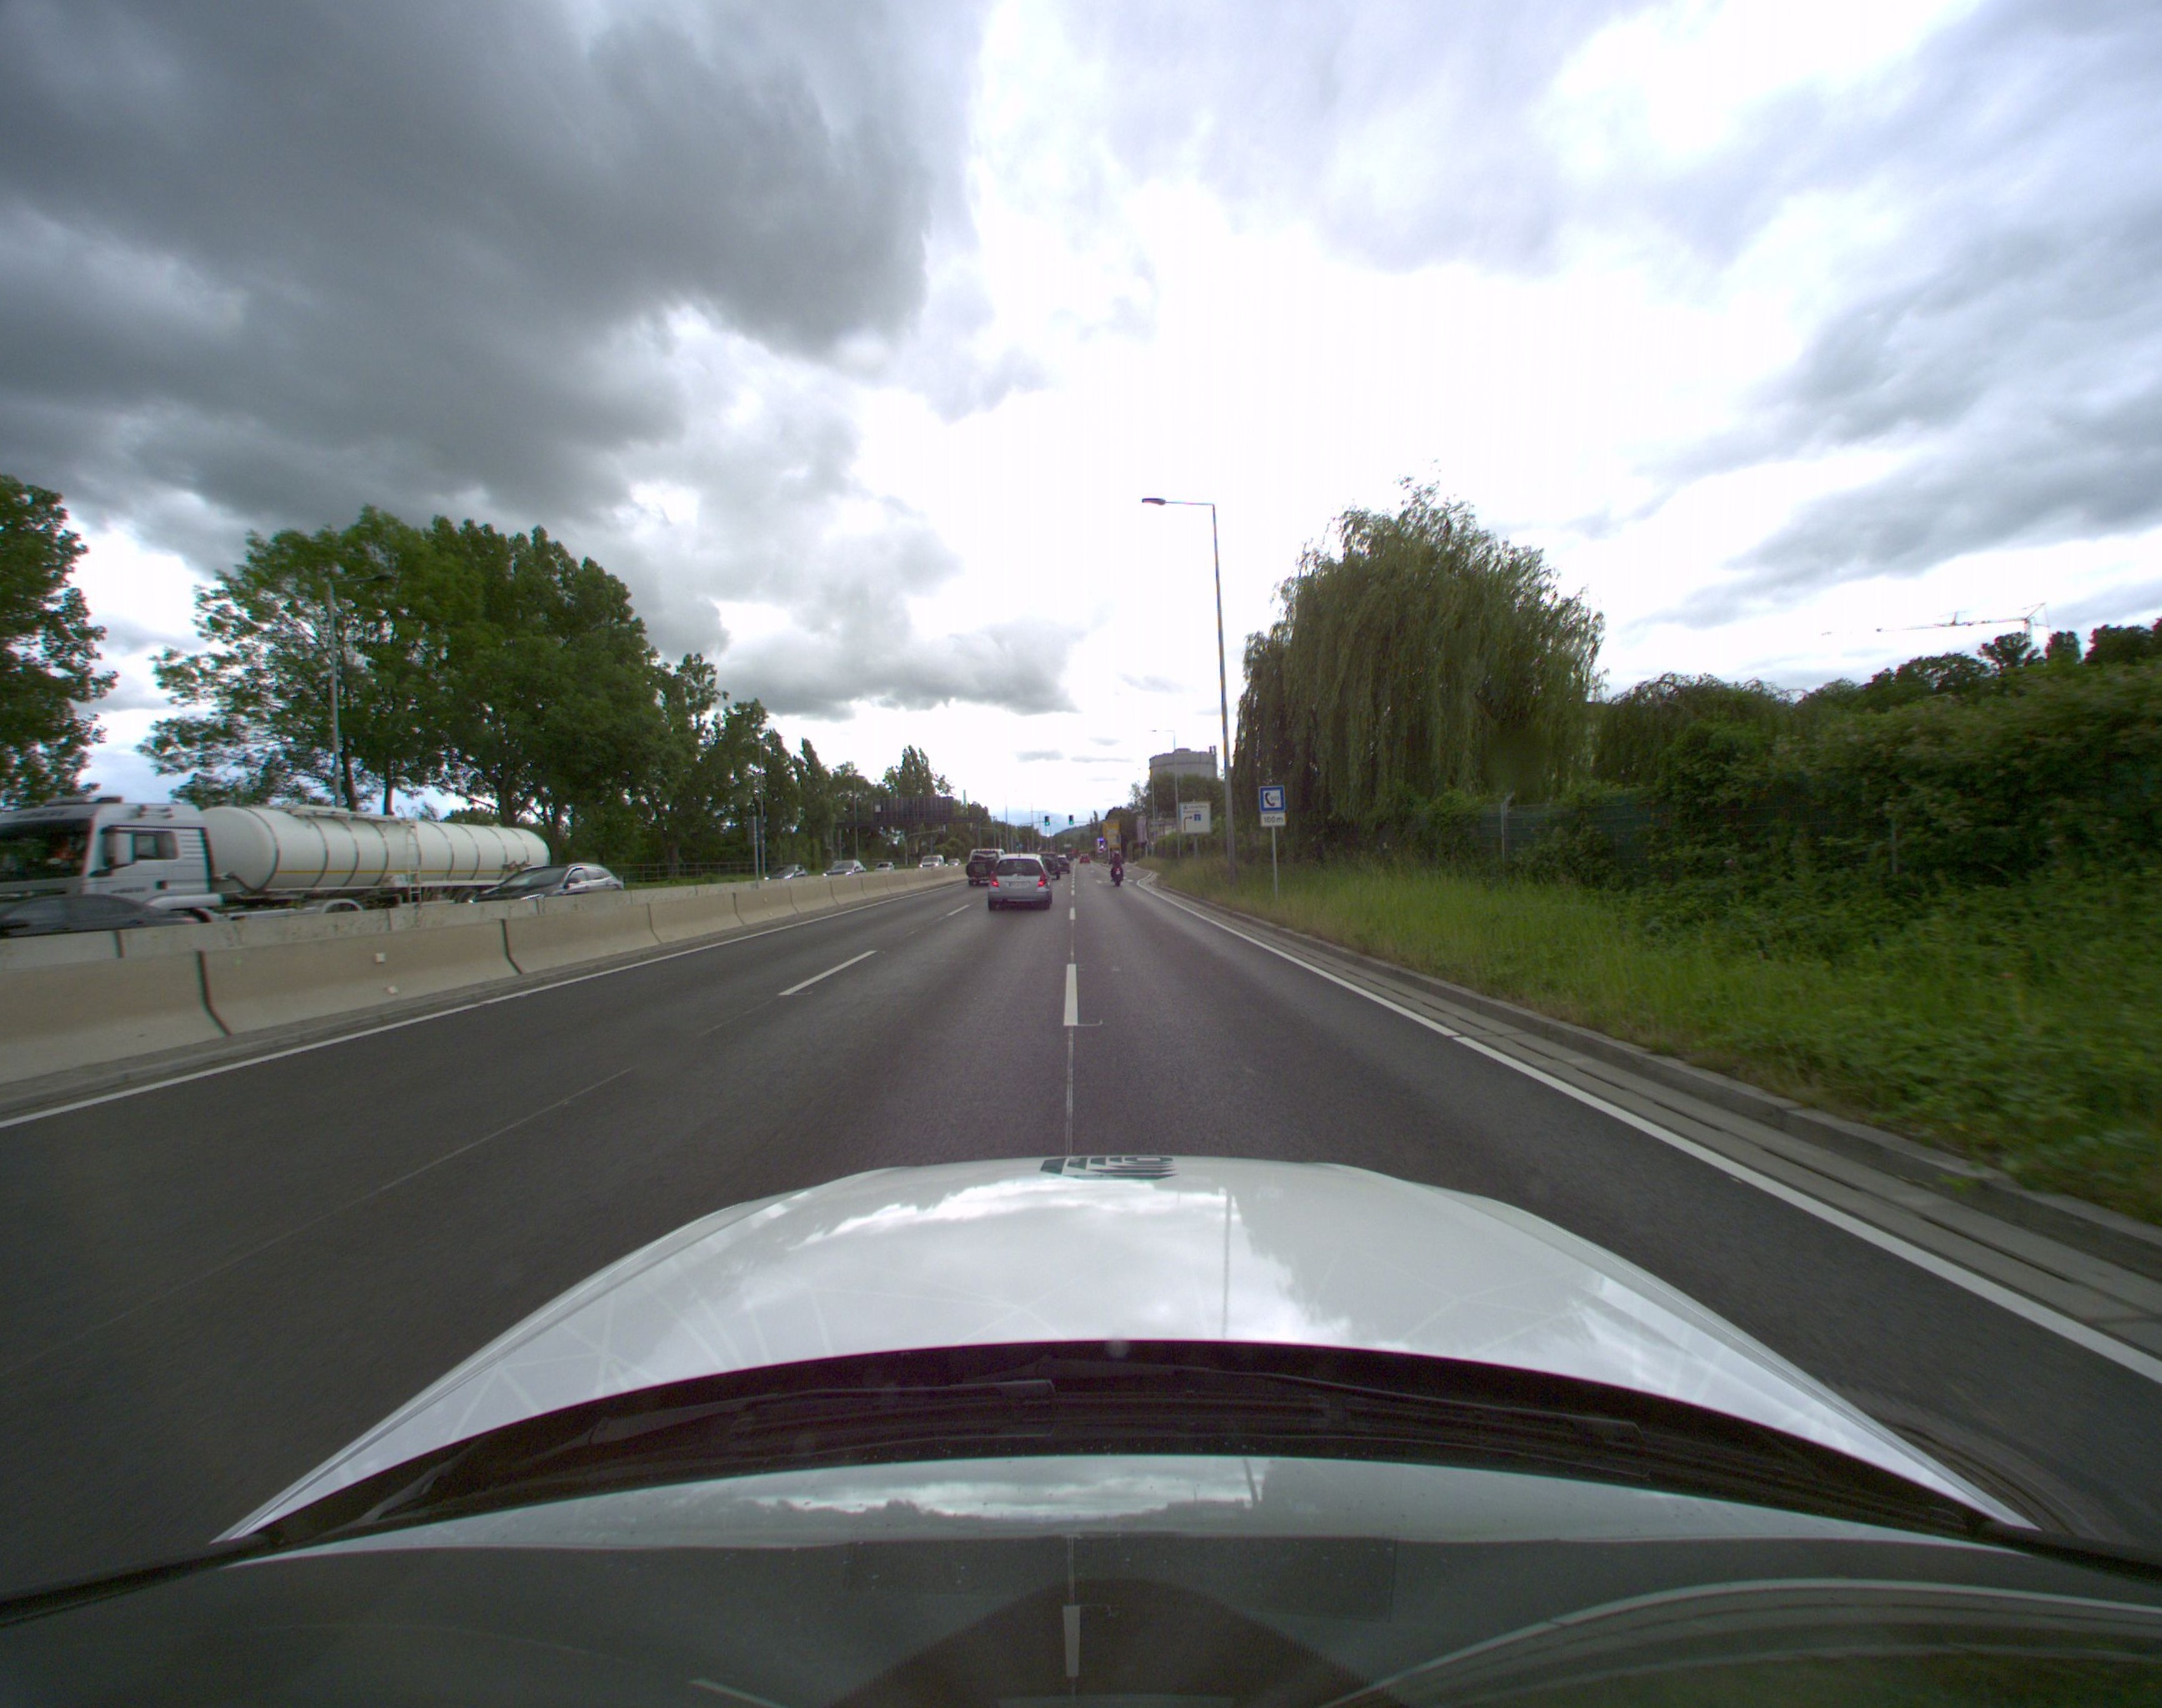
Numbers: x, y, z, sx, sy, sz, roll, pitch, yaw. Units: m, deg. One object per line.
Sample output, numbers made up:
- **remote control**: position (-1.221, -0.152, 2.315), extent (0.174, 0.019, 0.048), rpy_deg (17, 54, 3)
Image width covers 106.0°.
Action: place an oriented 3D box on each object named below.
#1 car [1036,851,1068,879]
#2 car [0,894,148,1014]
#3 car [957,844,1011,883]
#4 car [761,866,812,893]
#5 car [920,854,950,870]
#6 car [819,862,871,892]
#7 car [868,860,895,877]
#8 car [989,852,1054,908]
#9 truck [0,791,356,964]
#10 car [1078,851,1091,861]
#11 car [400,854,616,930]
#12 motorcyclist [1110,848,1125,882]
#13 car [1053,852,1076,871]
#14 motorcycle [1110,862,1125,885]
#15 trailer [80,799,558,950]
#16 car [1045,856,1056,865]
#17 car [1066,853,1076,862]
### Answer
- **car**: position (-1.802, 0.653, 51.953), extent (1.901, 1.684, 4.000), rpy_deg (0, 0, 0)
- **car**: position (-16.371, 1.477, 11.054), extent (1.987, 1.618, 4.696), rpy_deg (0, 0, 0)
- **car**: position (-5.064, 0.467, 43.160), extent (2.207, 1.925, 5.002), rpy_deg (0, 0, 0)
- **car**: position (-20.338, 1.725, 56.403), extent (1.987, 1.739, 4.303), rpy_deg (0, 0, 0)
- **car**: position (-14.709, 0.798, 82.385), extent (1.986, 1.559, 4.888), rpy_deg (0, 0, 2)
- **car**: position (-14.365, 1.374, 49.753), extent (1.987, 1.739, 4.000), rpy_deg (0, 0, 0)
- **car**: position (-21.284, 1.514, 87.191), extent (1.872, 1.683, 4.121), rpy_deg (0, 0, 0)
- **car**: position (-1.711, 0.702, 24.409), extent (1.705, 1.530, 3.999), rpy_deg (0, 0, -1)
- **truck**: position (-19.796, 0.426, 17.853), extent (3.091, 3.219, 5.386), rpy_deg (0, 0, -3)
- **car**: position (0.624, 0.371, 132.452), extent (1.988, 1.552, 3.998), rpy_deg (0, 0, -1)
- **car**: position (-13.850, 0.836, 20.122), extent (1.987, 1.618, 4.696), rpy_deg (0, 0, 0)
- **motorcyclist**: position (1.754, 0.534, 39.231), extent (0.682, 1.610, 0.845), rpy_deg (0, 0, 1)
- **car**: position (-1.292, 0.592, 66.941), extent (1.834, 1.464, 3.999), rpy_deg (0, 0, -1)
- **motorcycle**: position (1.763, 0.946, 39.313), extent (0.704, 1.040, 2.027), rpy_deg (0, 0, 1)
- **trailer**: position (-20.037, 0.398, 23.275), extent (3.093, 3.220, 11.657), rpy_deg (0, 0, -3)
- **car**: position (-5.626, 1.216, 152.431), extent (1.988, 1.552, 3.998), rpy_deg (0, 0, -1)
- **car**: position (-2.231, 0.714, 182.903), extent (1.987, 2.013, 4.000), rpy_deg (0, 0, 0)
